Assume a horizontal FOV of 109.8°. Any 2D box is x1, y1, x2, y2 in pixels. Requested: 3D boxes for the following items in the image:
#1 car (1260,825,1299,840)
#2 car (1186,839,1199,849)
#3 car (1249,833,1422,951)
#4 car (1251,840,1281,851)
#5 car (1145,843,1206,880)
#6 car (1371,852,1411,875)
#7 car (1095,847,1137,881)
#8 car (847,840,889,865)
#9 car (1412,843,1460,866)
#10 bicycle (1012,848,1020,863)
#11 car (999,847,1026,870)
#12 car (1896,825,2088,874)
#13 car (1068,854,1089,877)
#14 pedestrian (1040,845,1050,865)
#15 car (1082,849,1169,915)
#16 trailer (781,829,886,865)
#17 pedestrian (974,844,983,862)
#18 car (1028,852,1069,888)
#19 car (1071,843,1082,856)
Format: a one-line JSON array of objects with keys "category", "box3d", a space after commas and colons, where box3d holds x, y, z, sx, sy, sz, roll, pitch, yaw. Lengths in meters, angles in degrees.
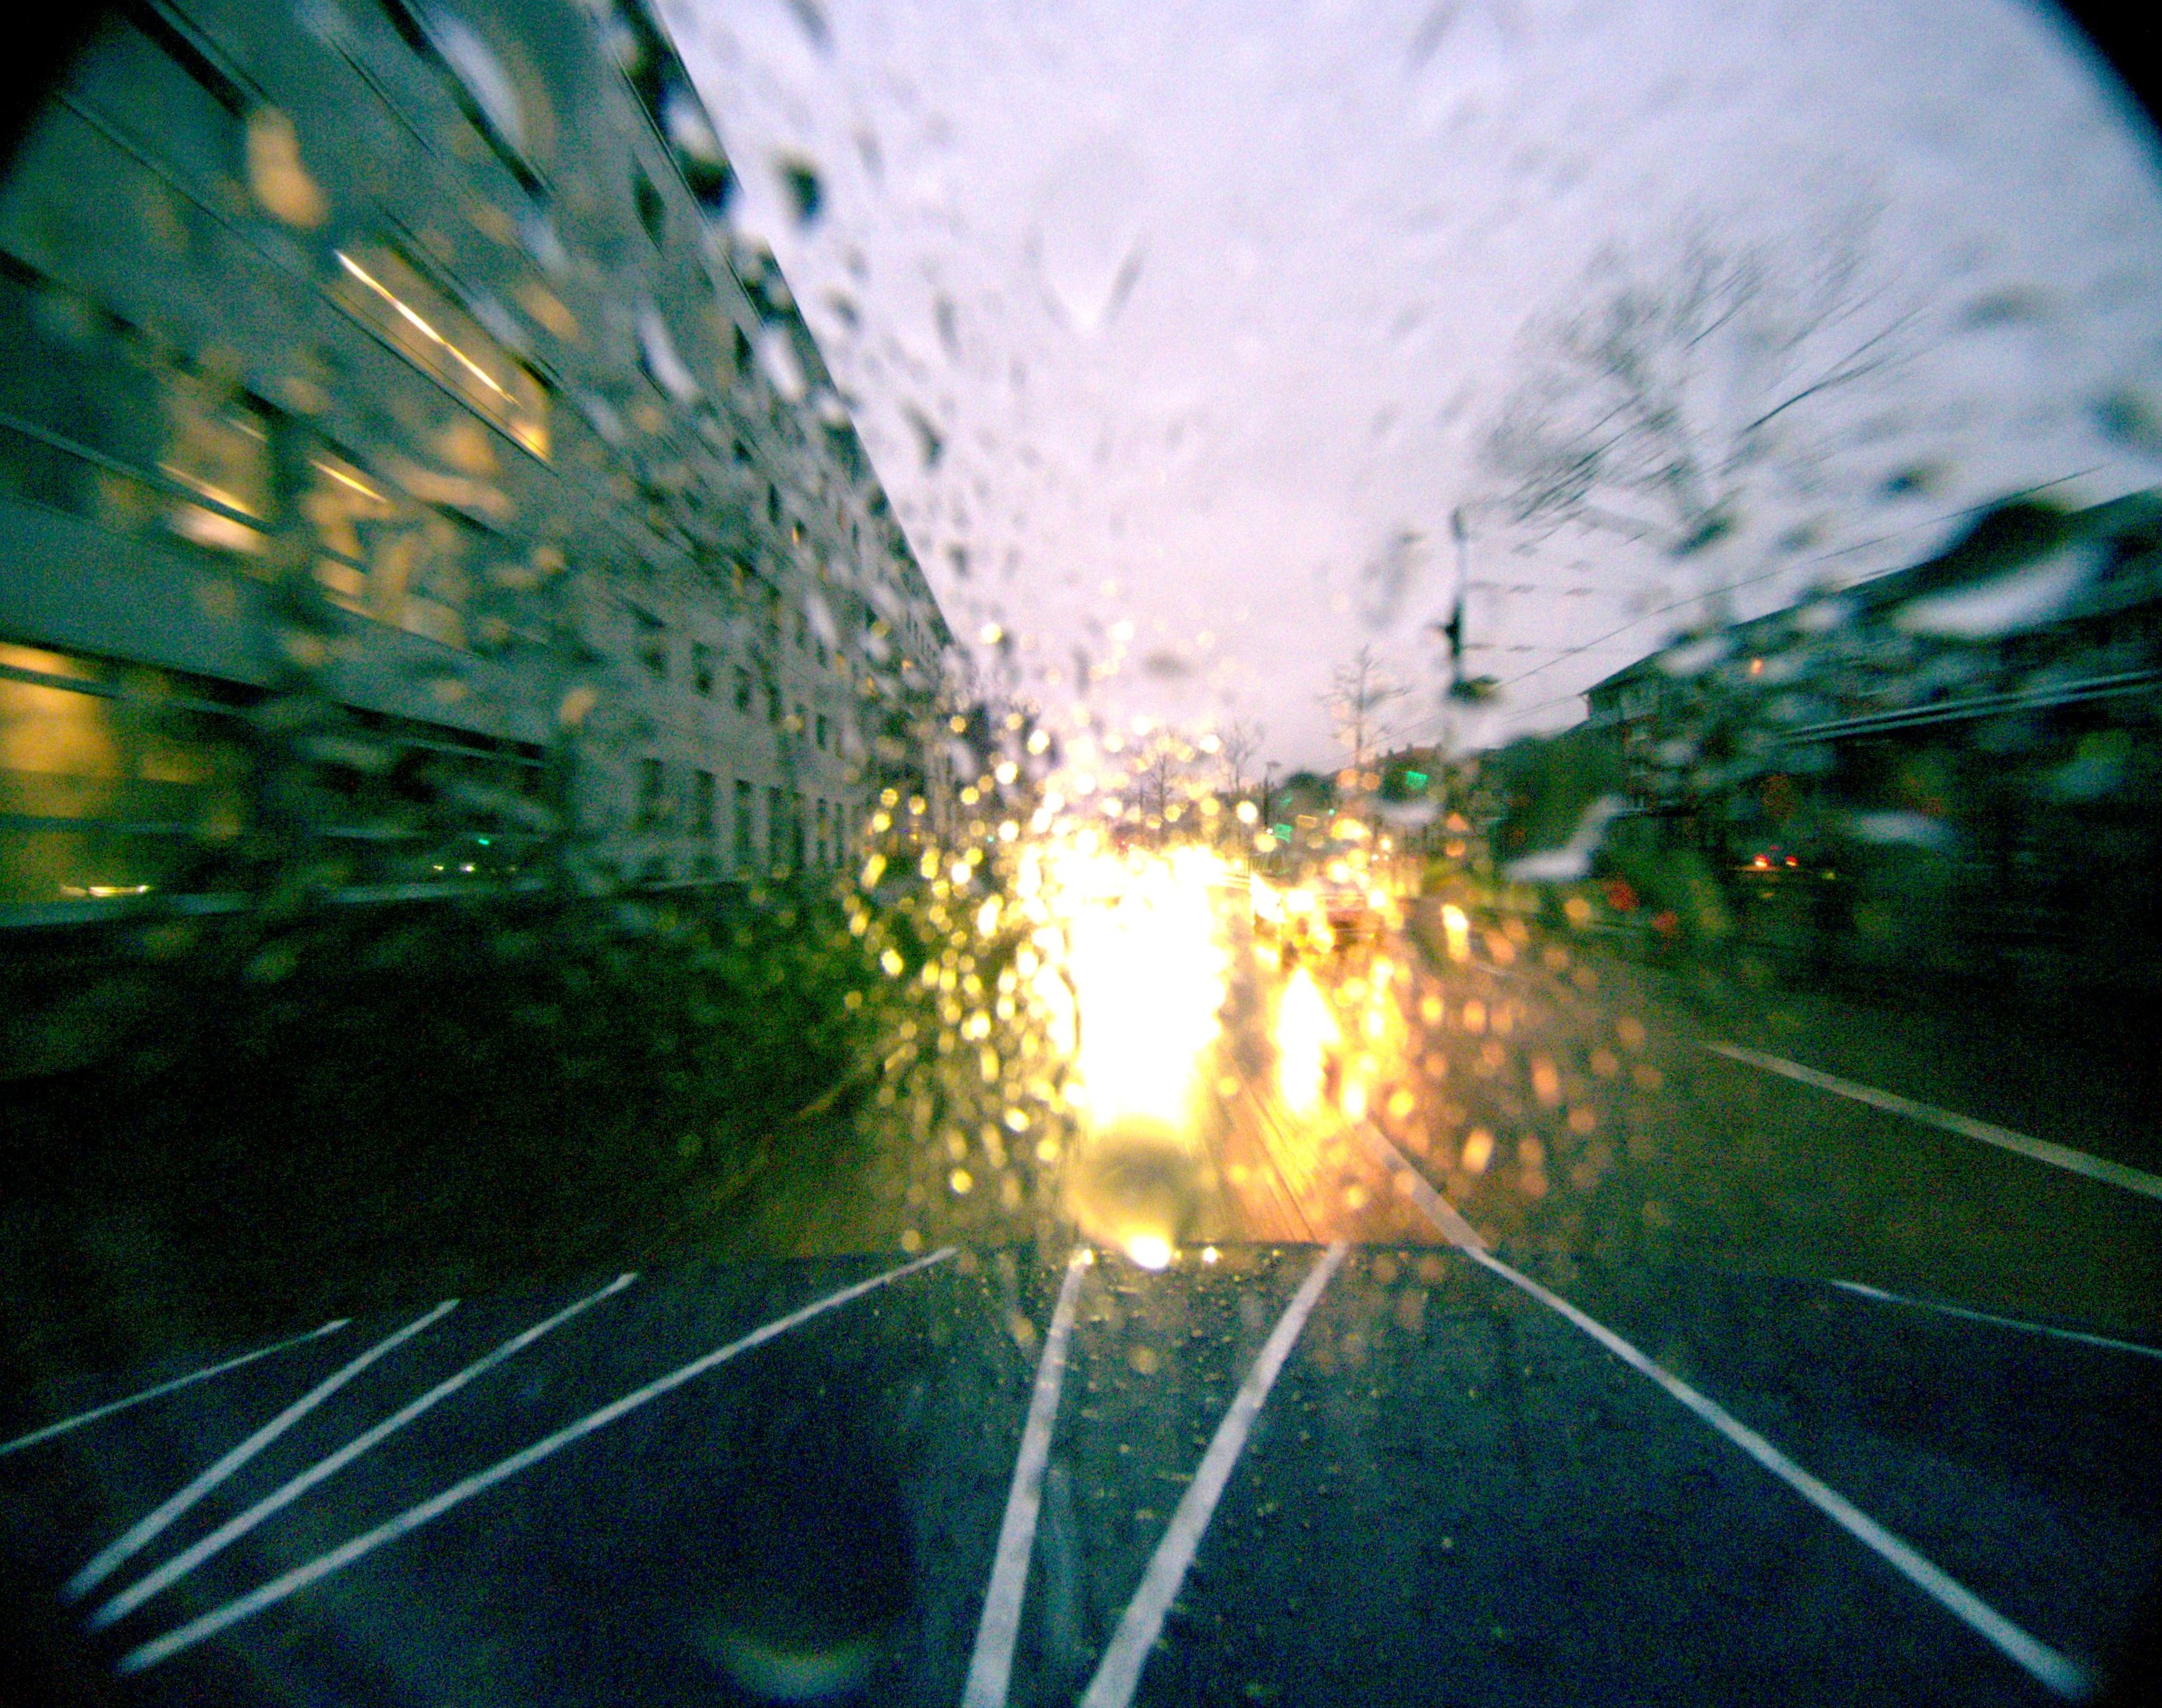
[{"category": "car", "box3d": [33.318, -3.591, 127.618, 5.893, 2.242, 1.824, 0, 2, 31]}, {"category": "car", "box3d": [18.837, -1.709, 128.638, 1.527, 1.630, 3.747, -1, 2, -3]}, {"category": "car", "box3d": [4.183, 0.512, 13.171, 2.020, 1.668, 4.000, -1, 2, 6]}, {"category": "car", "box3d": [26.879, -1.229, 110.269, 4.002, 1.496, 1.315, 0, 2, 33]}, {"category": "car", "box3d": [4.201, 0.309, 34.425, 1.976, 1.493, 4.089, -2, 1, -3]}, {"category": "car", "box3d": [27.248, 0.814, 66.886, 1.696, 1.749, 3.998, -2, 2, -2]}, {"category": "car", "box3d": [1.706, 0.479, 38.407, 1.764, 1.520, 3.733, -2, 2, -2]}, {"category": "car", "box3d": [-13.223, -0.127, 47.345, 1.636, 1.363, 4.527, 1, 2, -5]}, {"category": "car", "box3d": [23.979, 0.016, 51.367, 1.692, 1.427, 3.235, -2, 2, 0]}, {"category": "bicycle", "box3d": [-5.244, 0.109, 61.140, 0.552, 1.109, 2.165, 1, 2, -3]}, {"category": "car", "box3d": [-4.768, 0.284, 53.331, 1.600, 1.432, 4.226, -2, 2, -2]}, {"category": "car", "box3d": [31.804, -0.207, 26.754, 1.729, 1.535, 4.149, -2, 2, -1]}, {"category": "car", "box3d": [-0.178, 0.891, 60.595, 1.610, 1.666, 3.684, -2, 2, 1]}, {"category": "pedestrian", "box3d": [-3.288, 0.082, 69.917, 0.773, 1.799, 0.698, 3, 2, -6]}, {"category": "car", "box3d": [0.999, 0.611, 18.940, 1.757, 1.418, 3.803, -1, 1, -2]}, {"category": "trailer", "box3d": [-13.673, -0.386, 42.208, 5.079, 1.900, 2.131, -1, 0, 3]}, {"category": "pedestrian", "box3d": [-9.759, -0.085, 72.148, 0.739, 1.726, 0.702, -2, 2, -5]}, {"category": "car", "box3d": [-1.371, 0.624, 31.972, 1.596, 1.386, 3.485, 1, 0, -2]}, {"category": "car", "box3d": [-0.628, -0.635, 104.283, 1.494, 1.585, 3.998, -2, 2, -1]}]
